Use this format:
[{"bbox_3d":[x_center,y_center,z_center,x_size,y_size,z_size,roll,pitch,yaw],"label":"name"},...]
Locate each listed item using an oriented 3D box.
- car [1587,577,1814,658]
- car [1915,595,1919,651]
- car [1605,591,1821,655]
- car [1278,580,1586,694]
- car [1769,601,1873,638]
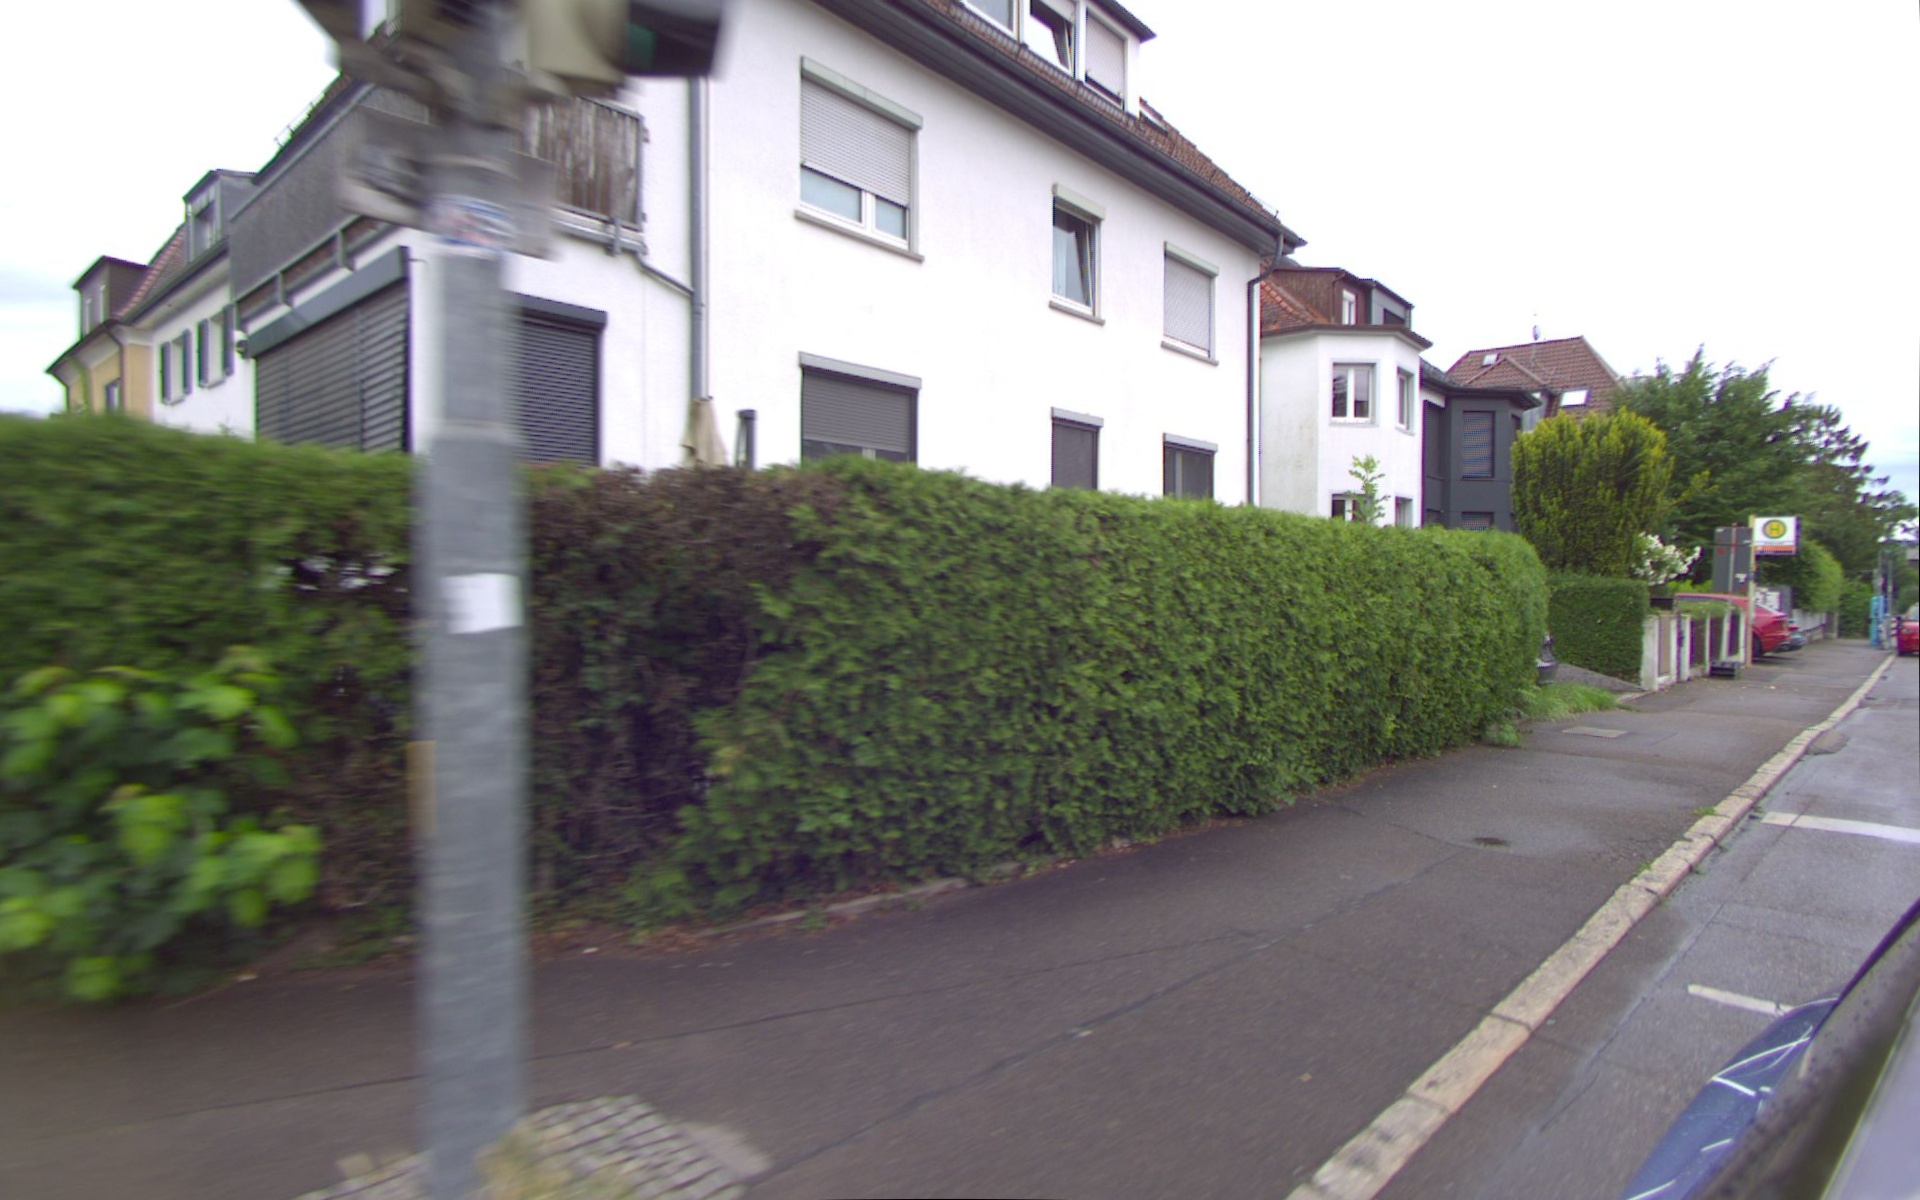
[{"bbox_3d":[18.312,0.391,25.258,4.030,1.772,1.990,2,1,16],"label":"car"},{"bbox_3d":[28.748,0.644,29.121,3.480,1.557,1.613,0,-1,-43],"label":"car"},{"bbox_3d":[20.374,0.568,27.518,4.542,1.434,1.971,3,2,40],"label":"car"},{"bbox_3d":[6.754,0.468,14.727,1.590,1.406,3.745,3,0,-45],"label":"car"},{"bbox_3d":[44.578,0.973,52.452,1.743,1.883,3.988,0,0,-45],"label":"car"}]
